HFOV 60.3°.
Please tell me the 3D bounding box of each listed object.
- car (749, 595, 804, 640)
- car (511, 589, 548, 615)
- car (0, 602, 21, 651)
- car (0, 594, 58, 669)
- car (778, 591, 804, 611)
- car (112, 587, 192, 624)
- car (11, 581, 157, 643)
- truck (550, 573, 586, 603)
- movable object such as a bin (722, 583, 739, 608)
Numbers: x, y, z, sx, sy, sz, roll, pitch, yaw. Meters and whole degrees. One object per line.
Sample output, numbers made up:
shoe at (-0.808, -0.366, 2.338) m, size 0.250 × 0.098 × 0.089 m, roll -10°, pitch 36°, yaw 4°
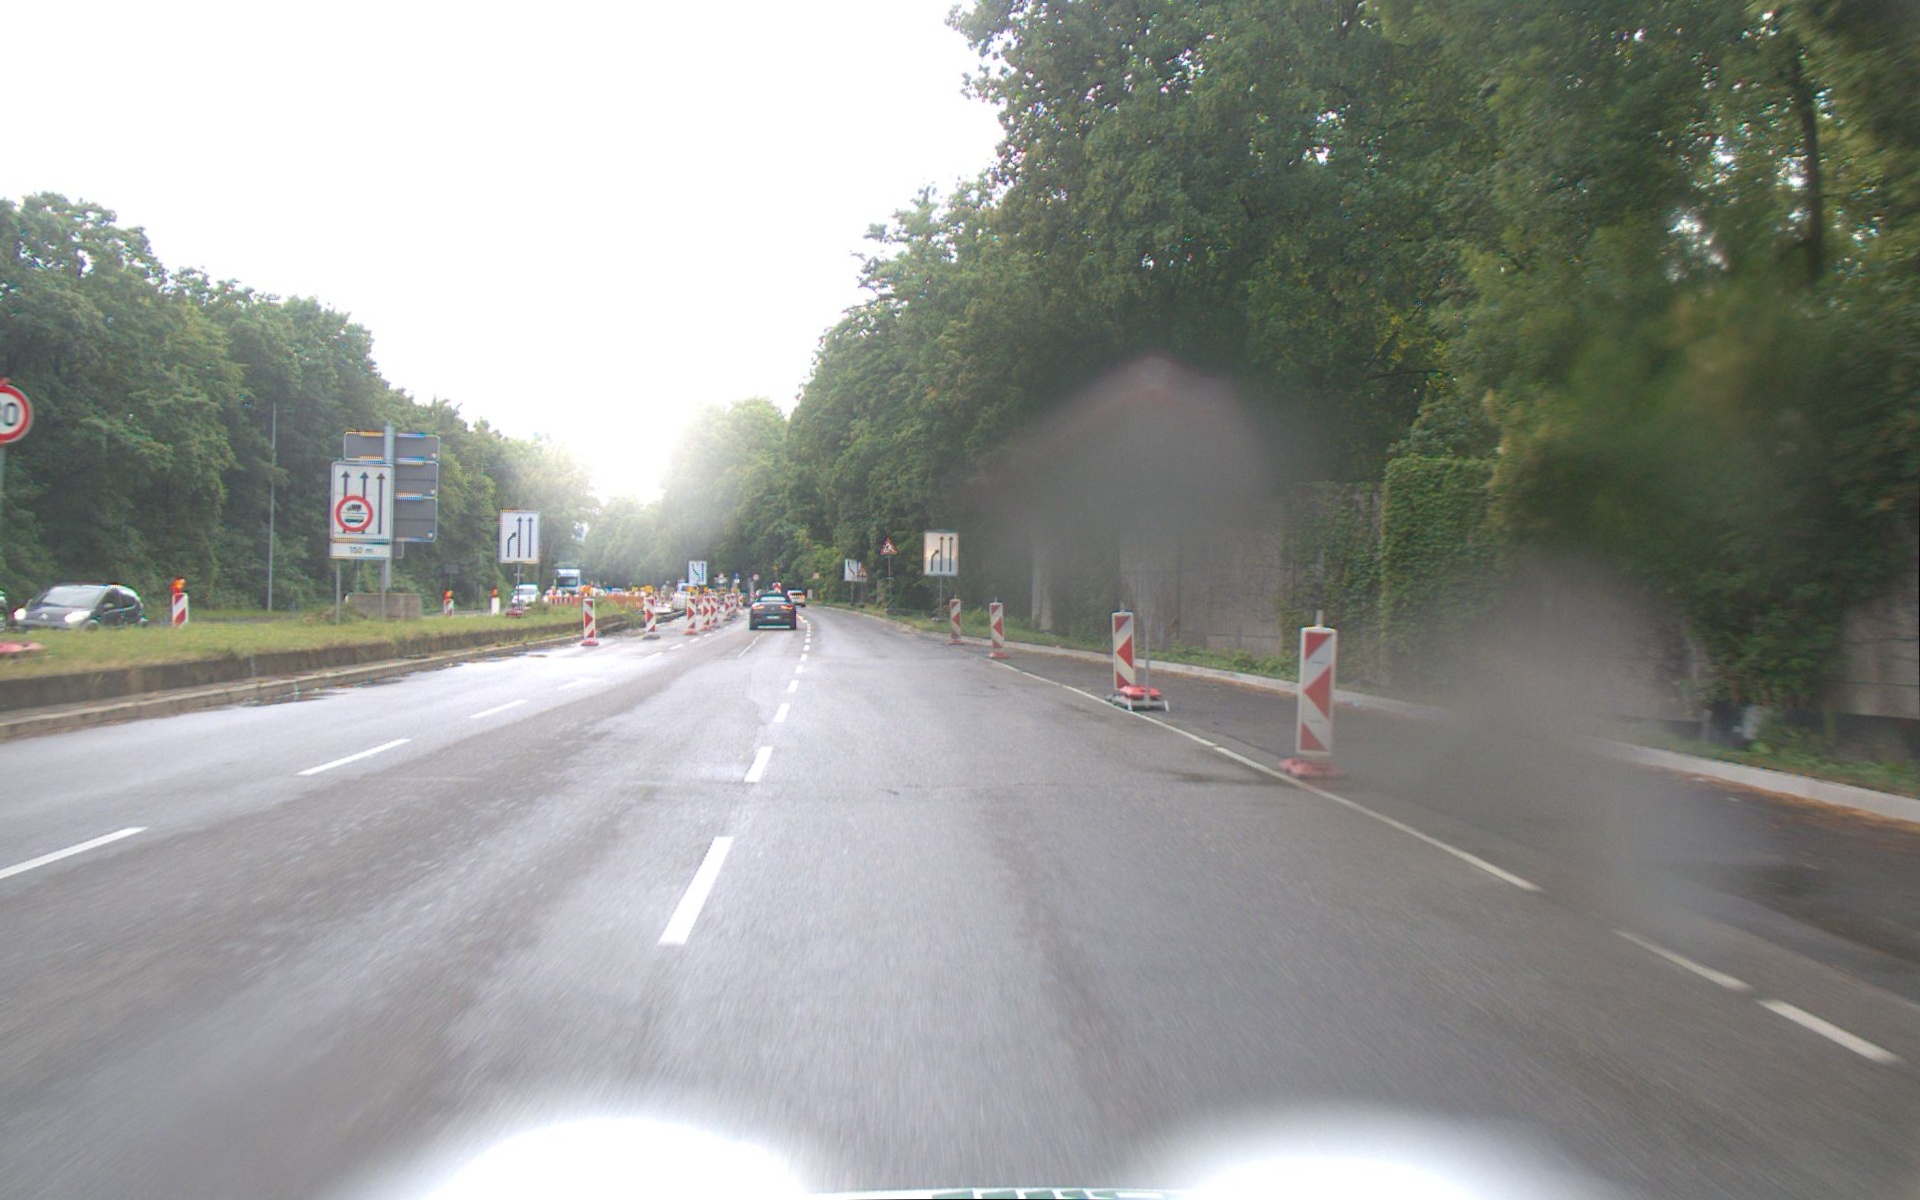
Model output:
car at (-7.213, 0.671, 65.418) m, size 1.824 × 1.517 × 3.999 m, roll 2°, pitch 2°, yaw -2°
car at (-30.864, 0.134, 118.762) m, size 1.877 × 1.812 × 4.827 m, roll 1°, pitch 1°, yaw -7°
car at (-24.807, 0.653, 40.443) m, size 1.518 × 1.221 × 3.928 m, roll 1°, pitch 0°, yaw -2°
car at (-16.687, 0.513, 26.959) m, size 1.517 × 1.221 × 4.644 m, roll 1°, pitch 0°, yaw -2°
car at (-14.842, 0.077, 144.691) m, size 1.879 × 1.626 × 4.822 m, roll 1°, pitch 1°, yaw -10°
car at (-25.717, 0.163, 52.704) m, size 1.244 × 1.104 × 2.792 m, roll 2°, pitch 1°, yaw -2°
car at (-18.560, 0.250, 35.182) m, size 1.401 × 1.221 × 3.298 m, roll 1°, pitch 0°, yaw -2°
truck at (-42.870, -1.281, 181.154) m, size 2.742 × 3.203 × 10.132 m, roll 0°, pitch 0°, yaw -7°
movable object such as a bin at (-27.087, -0.509, 194.982) m, size 1.716 × 2.917 × 3.524 m, roll -1°, pitch 0°, yaw -12°
